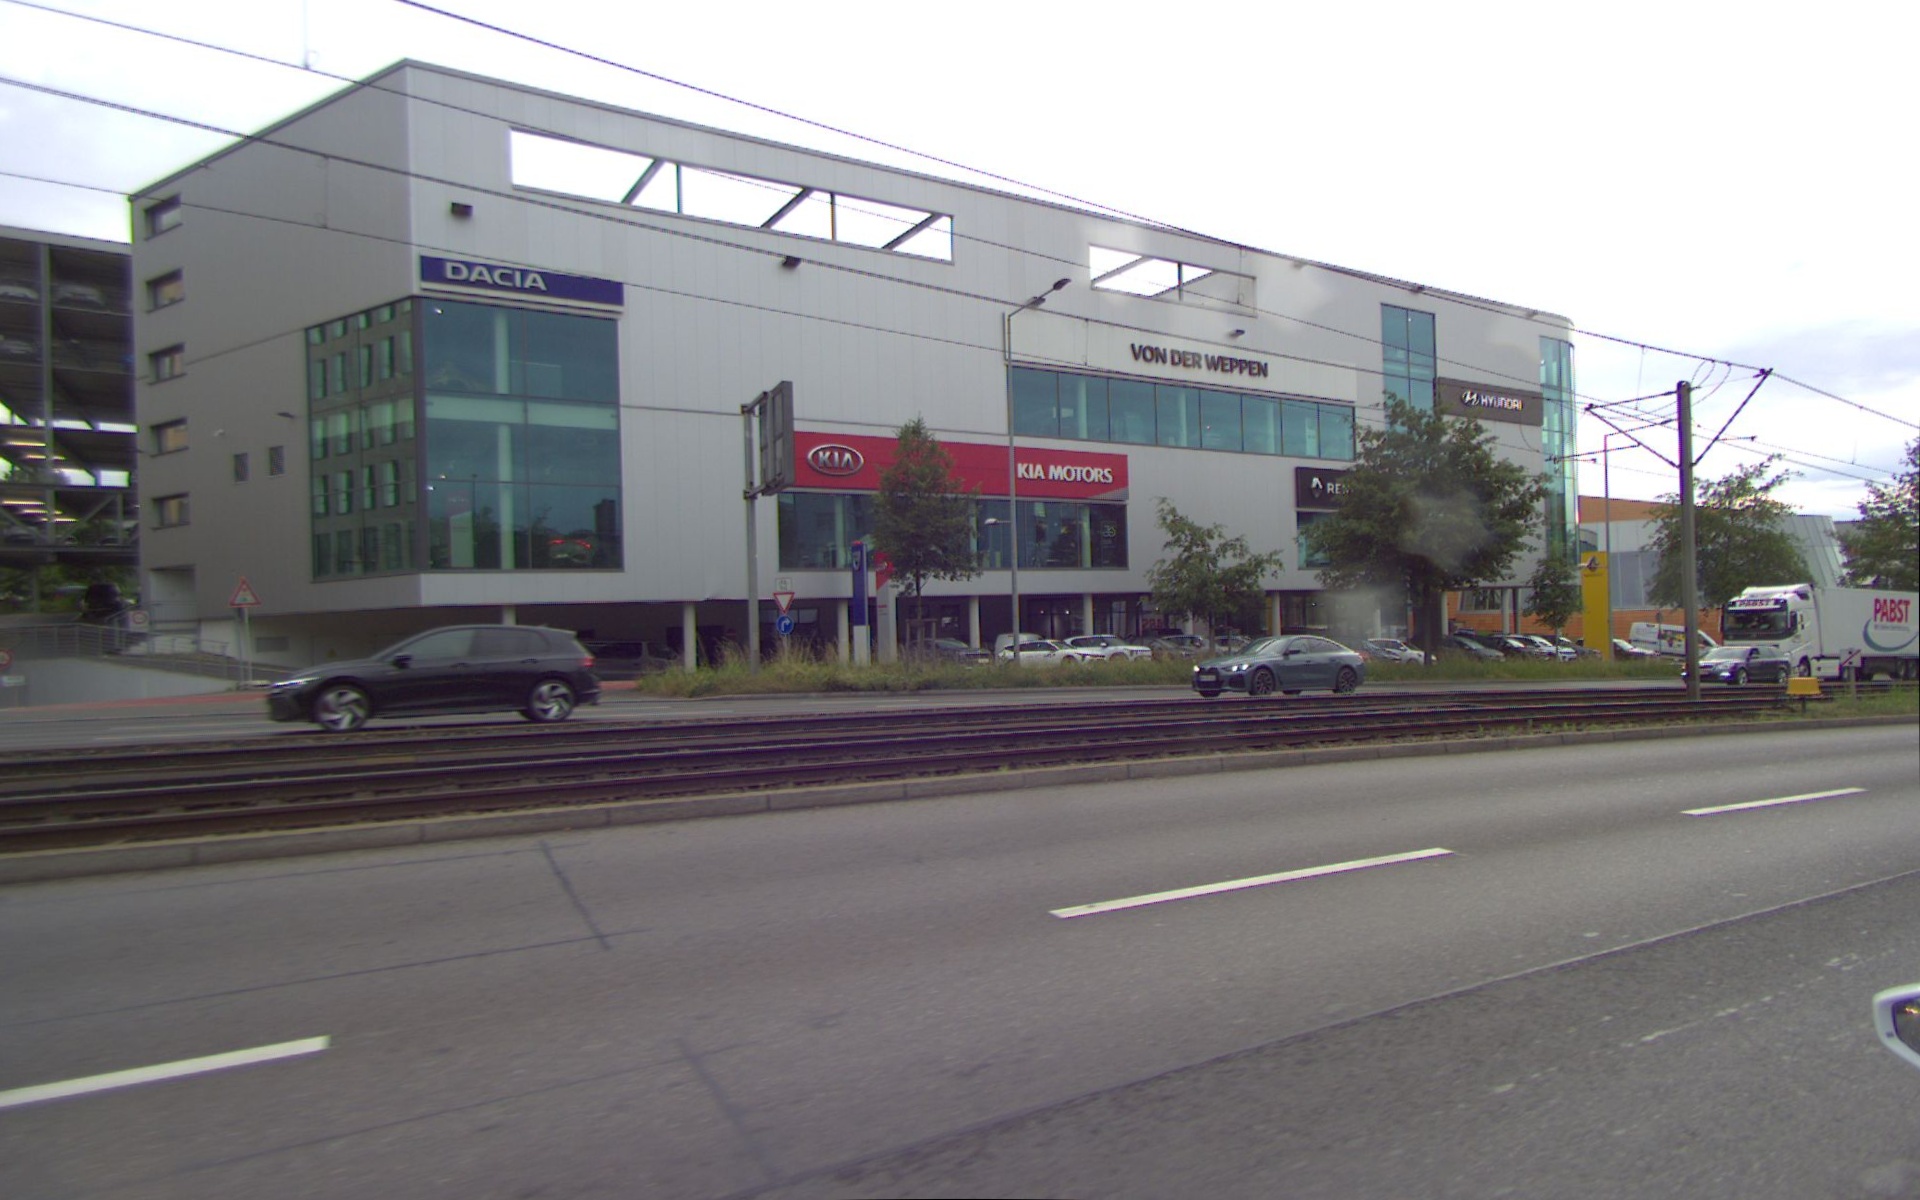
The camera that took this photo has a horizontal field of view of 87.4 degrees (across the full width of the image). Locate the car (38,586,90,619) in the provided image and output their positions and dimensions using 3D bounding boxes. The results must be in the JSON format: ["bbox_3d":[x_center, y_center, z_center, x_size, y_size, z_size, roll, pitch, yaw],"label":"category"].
[{"bbox_3d":[-52.680,0.182,59.118,1.898,1.708,3.848,5,-4,-38],"label":"car"}]

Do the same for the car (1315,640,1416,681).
[{"bbox_3d":[20.068,2.948,49.810,1.870,1.889,4.303,2,-3,-43],"label":"car"}]

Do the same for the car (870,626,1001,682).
[{"bbox_3d":[-0.967,1.973,37.727,4.901,1.958,2.009,-1,-3,43],"label":"car"}]

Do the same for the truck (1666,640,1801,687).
[{"bbox_3d":[27.539,2.269,35.752,4.483,1.588,1.937,2,-4,-25],"label":"truck"}]

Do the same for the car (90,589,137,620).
[{"bbox_3d":[-51.114,0.309,60.696,1.898,1.708,3.957,5,-4,-38],"label":"car"}]

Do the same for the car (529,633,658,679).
[{"bbox_3d":[-15.719,2.346,43.131,4.888,1.815,1.982,1,-1,-34],"label":"car"}]

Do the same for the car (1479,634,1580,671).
[{"bbox_3d":[32.078,2.933,56.713,1.999,2.002,4.574,2,-2,-33],"label":"car"}]

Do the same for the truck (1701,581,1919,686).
[{"bbox_3d":[39.942,1.460,45.794,16.988,4.236,3.029,1,-1,-29],"label":"truck"}]

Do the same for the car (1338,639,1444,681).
[{"bbox_3d":[21.888,3.014,51.129,2.004,2.002,4.562,2,-3,-41],"label":"car"}]

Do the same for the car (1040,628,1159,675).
[{"bbox_3d":[5.734,2.106,41.689,4.572,1.851,2.009,-1,-3,43],"label":"car"}]

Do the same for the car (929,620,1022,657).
[{"bbox_3d":[0.862,2.072,54.512,4.794,1.936,1.982,1,-1,-34],"label":"car"}]

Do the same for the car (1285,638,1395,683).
[{"bbox_3d":[18.195,2.862,48.290,2.005,2.002,4.561,2,-3,-41],"label":"car"}]

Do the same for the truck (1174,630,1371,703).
[{"bbox_3d":[7.468,1.591,23.913,4.538,1.588,1.934,3,-4,-30],"label":"truck"}]

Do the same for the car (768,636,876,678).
[{"bbox_3d":[-6.735,2.759,49.342,4.888,1.936,1.982,1,-1,-34],"label":"car"}]

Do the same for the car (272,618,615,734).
[{"bbox_3d":[-7.373,1.086,14.598,4.191,1.480,1.659,2,-4,-32],"label":"car"}]

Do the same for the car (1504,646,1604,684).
[{"bbox_3d":[34.389,3.727,58.275,1.999,2.002,4.574,2,-2,-33],"label":"car"}]

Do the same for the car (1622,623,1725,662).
[{"bbox_3d":[46.779,2.738,65.963,2.007,2.343,5.251,3,-2,-44],"label":"car"}]

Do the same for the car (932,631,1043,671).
[{"bbox_3d":[1.211,2.269,44.962,4.551,1.686,2.018,0,-2,26],"label":"car"}]

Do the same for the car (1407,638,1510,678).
[{"bbox_3d":[26.423,3.025,53.383,1.999,2.002,4.574,2,-2,-33],"label":"car"}]

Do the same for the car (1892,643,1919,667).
[{"bbox_3d":[79.806,4.557,82.523,2.074,1.834,4.301,0,0,-30],"label":"car"}]

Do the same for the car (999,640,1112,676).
[{"bbox_3d":[3.777,2.308,40.271,4.274,1.324,1.862,-1,-3,43],"label":"car"}]

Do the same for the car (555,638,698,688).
[{"bbox_3d":[-12.749,2.364,38.468,4.885,1.748,1.983,1,-1,-32],"label":"car"}]

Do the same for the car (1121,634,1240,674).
[{"bbox_3d":[9.876,2.390,45.225,4.947,1.675,2.009,-1,-3,43],"label":"car"}]
